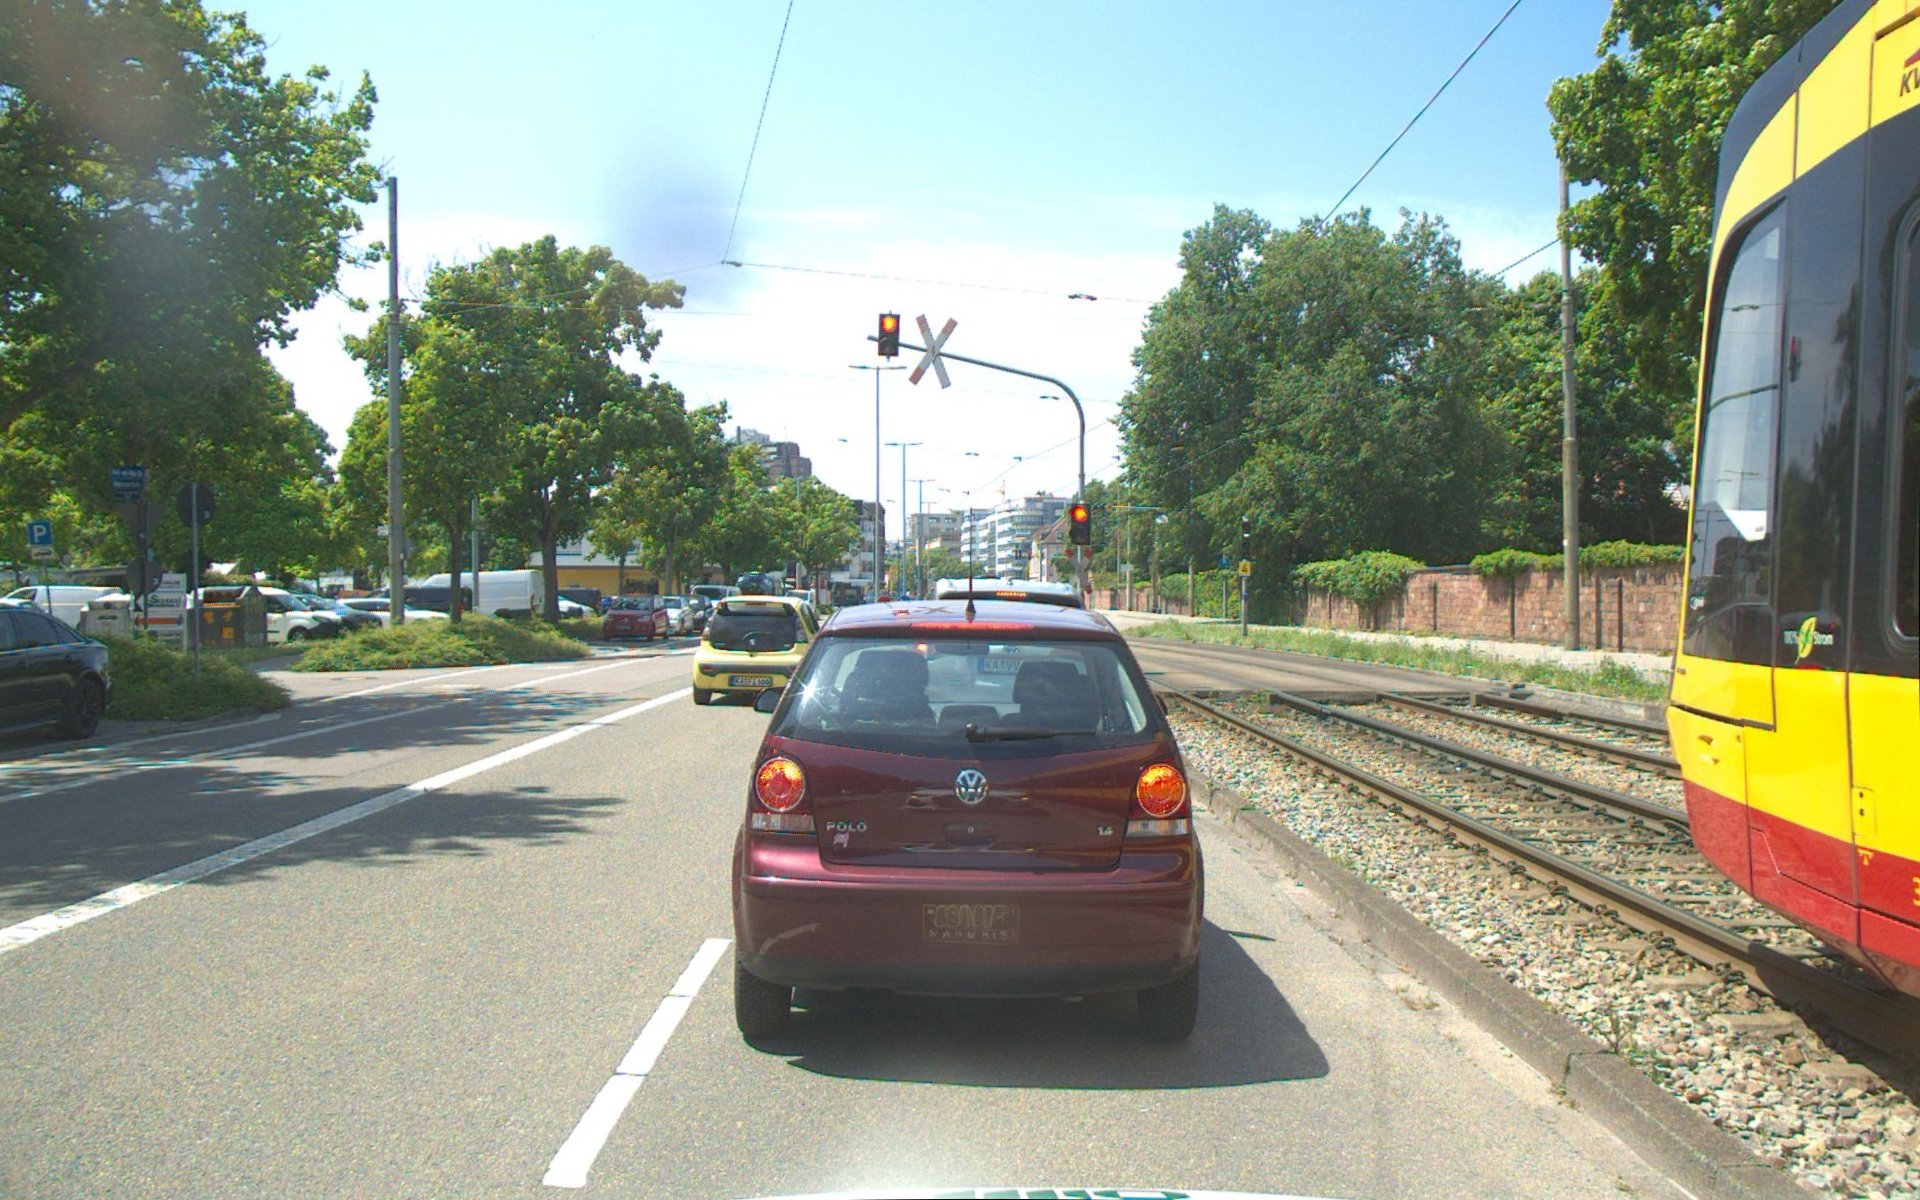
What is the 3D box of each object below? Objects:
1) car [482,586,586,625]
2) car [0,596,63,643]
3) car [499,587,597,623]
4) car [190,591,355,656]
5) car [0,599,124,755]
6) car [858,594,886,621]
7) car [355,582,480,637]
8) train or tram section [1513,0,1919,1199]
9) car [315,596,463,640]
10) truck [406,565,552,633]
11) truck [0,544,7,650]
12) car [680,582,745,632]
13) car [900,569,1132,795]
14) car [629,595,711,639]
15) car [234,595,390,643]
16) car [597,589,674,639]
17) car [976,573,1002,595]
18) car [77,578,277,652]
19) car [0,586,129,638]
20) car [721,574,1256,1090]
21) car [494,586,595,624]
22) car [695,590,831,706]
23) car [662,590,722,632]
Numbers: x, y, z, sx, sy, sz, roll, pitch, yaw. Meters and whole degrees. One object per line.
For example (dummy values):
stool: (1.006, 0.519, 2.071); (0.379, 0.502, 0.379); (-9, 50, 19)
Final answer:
car: (-20.952, 0.271, 81.430); (4.623, 1.845, 1.796); (-1, 0, -2)
car: (-33.718, 0.658, 57.923); (3.670, 1.603, 1.732); (0, 0, -1)
car: (-21.358, 0.251, 85.867); (4.623, 1.845, 1.796); (-1, 0, -2)
car: (-20.408, 0.676, 49.202); (4.178, 1.867, 1.673); (-1, 0, 1)
car: (-10.311, 0.753, 16.322); (1.856, 1.482, 4.807); (1, 0, -3)
car: (-6.576, 0.553, 124.414); (1.879, 1.944, 4.570); (-1, 0, -1)
car: (-20.565, 0.345, 62.843); (4.125, 2.030, 1.856); (-1, 0, -2)
train or tram section: (3.973, 0.265, 0.295); (2.749, 3.874, 14.259); (1, 0, -1)
car: (-20.730, 0.635, 60.178); (4.665, 1.514, 2.057); (-1, 0, -2)
truck: (-20.493, -0.065, 70.679); (5.463, 2.808, 2.432); (-1, 0, 0)
truck: (-33.089, -0.106, 50.296); (6.836, 3.284, 2.150); (0, 0, -2)
car: (-10.562, 0.267, 70.999); (1.824, 1.971, 4.806); (3, 0, 2)
car: (0.405, 0.622, 14.718); (1.759, 1.712, 3.999); (1, 0, -1)
car: (-10.609, 0.590, 60.882); (1.682, 1.452, 4.775); (-1, 1, 6)
car: (-20.409, 0.591, 52.240); (4.113, 1.428, 2.079); (-1, 0, -5)
car: (-10.570, 0.451, 54.096); (1.637, 1.573, 3.727); (1, 0, 2)
car: (2.591, -1.456, 150.872); (1.881, 1.944, 4.566); (-1, 0, -5)
car: (-20.940, 0.382, 44.387); (4.361, 1.889, 2.059); (-1, 0, -6)
car: (-32.857, 0.439, 60.378); (4.044, 1.852, 1.970); (0, 0, -1)
car: (0.059, 0.686, 6.950); (1.577, 1.524, 3.999); (1, 0, -1)
car: (-20.963, 0.237, 83.609); (4.623, 1.845, 1.796); (-1, 0, -2)
car: (-2.694, 0.614, 23.188); (1.520, 1.473, 3.411); (1, 0, -1)
car: (-10.630, 0.428, 65.893); (1.581, 1.510, 3.785); (3, 0, 2)
